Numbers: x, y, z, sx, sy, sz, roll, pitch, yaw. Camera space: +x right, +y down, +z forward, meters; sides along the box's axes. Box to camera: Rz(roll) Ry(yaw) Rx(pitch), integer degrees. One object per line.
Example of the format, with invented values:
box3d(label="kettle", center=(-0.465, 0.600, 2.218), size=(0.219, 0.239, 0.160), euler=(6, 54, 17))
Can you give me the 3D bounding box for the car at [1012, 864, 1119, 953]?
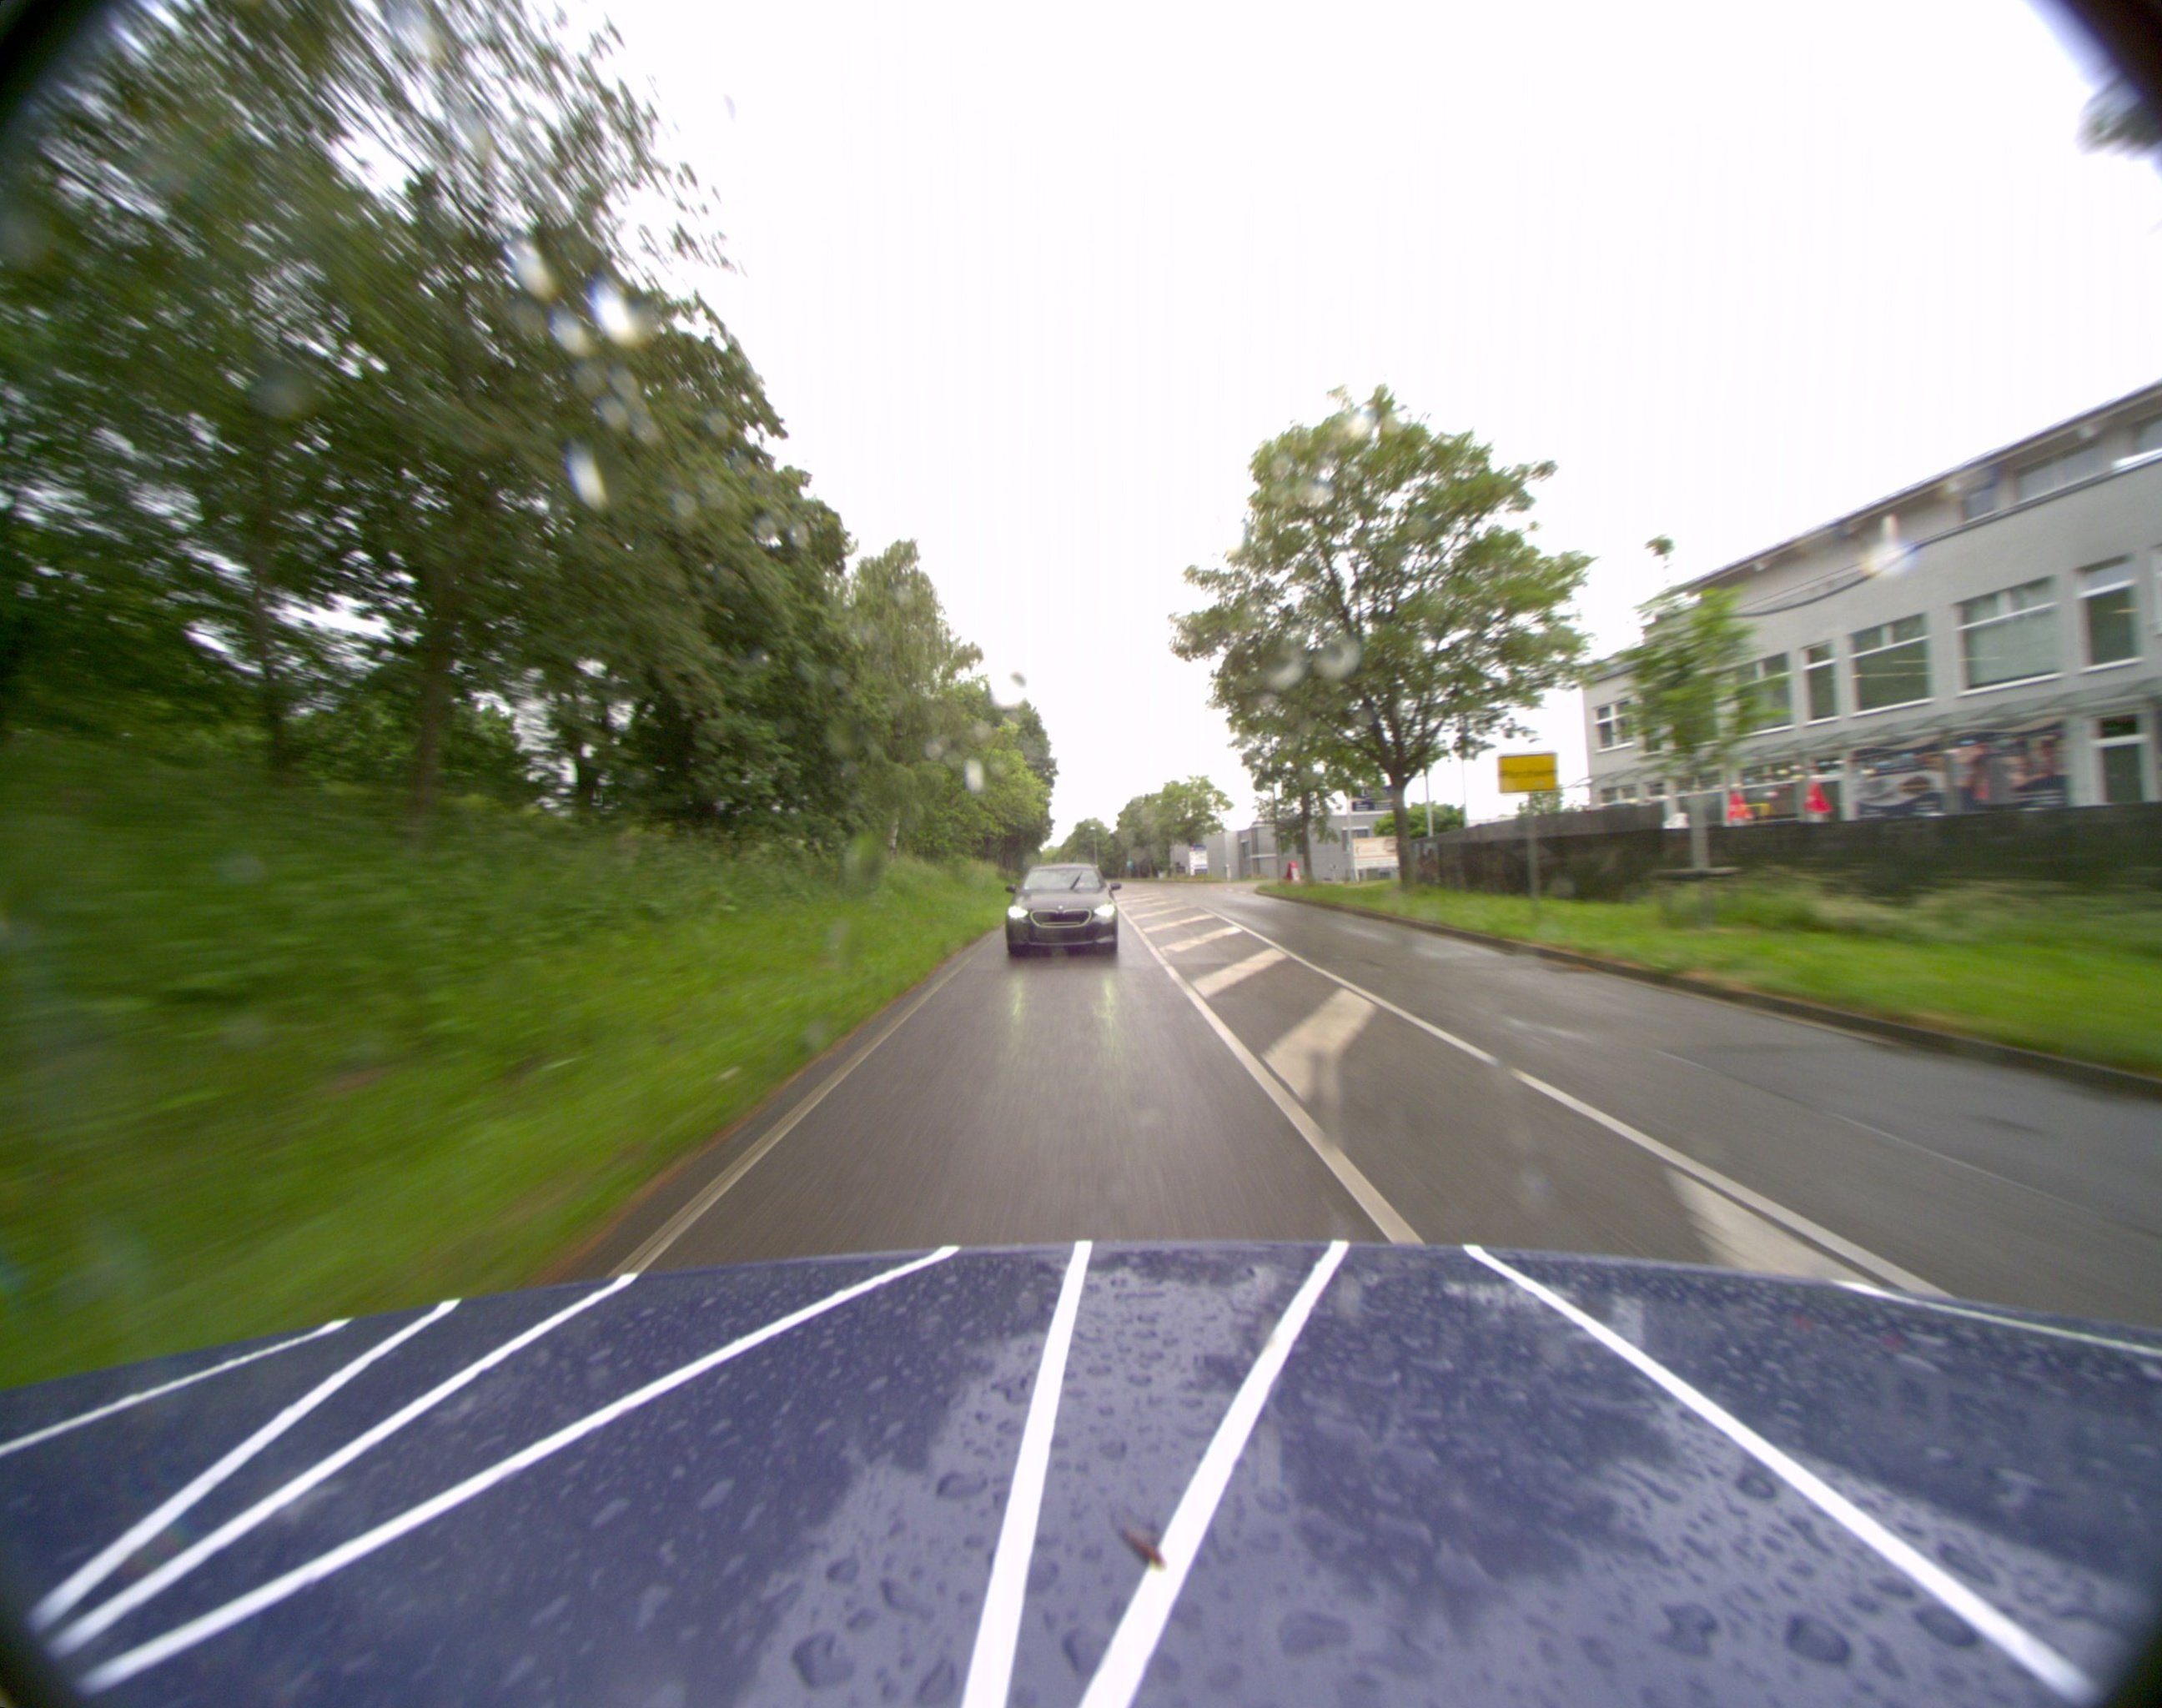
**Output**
box3d(label="car", center=(-0.182, 0.993, 15.436), size=(1.845, 1.471, 4.001), euler=(-2, 0, 2))
